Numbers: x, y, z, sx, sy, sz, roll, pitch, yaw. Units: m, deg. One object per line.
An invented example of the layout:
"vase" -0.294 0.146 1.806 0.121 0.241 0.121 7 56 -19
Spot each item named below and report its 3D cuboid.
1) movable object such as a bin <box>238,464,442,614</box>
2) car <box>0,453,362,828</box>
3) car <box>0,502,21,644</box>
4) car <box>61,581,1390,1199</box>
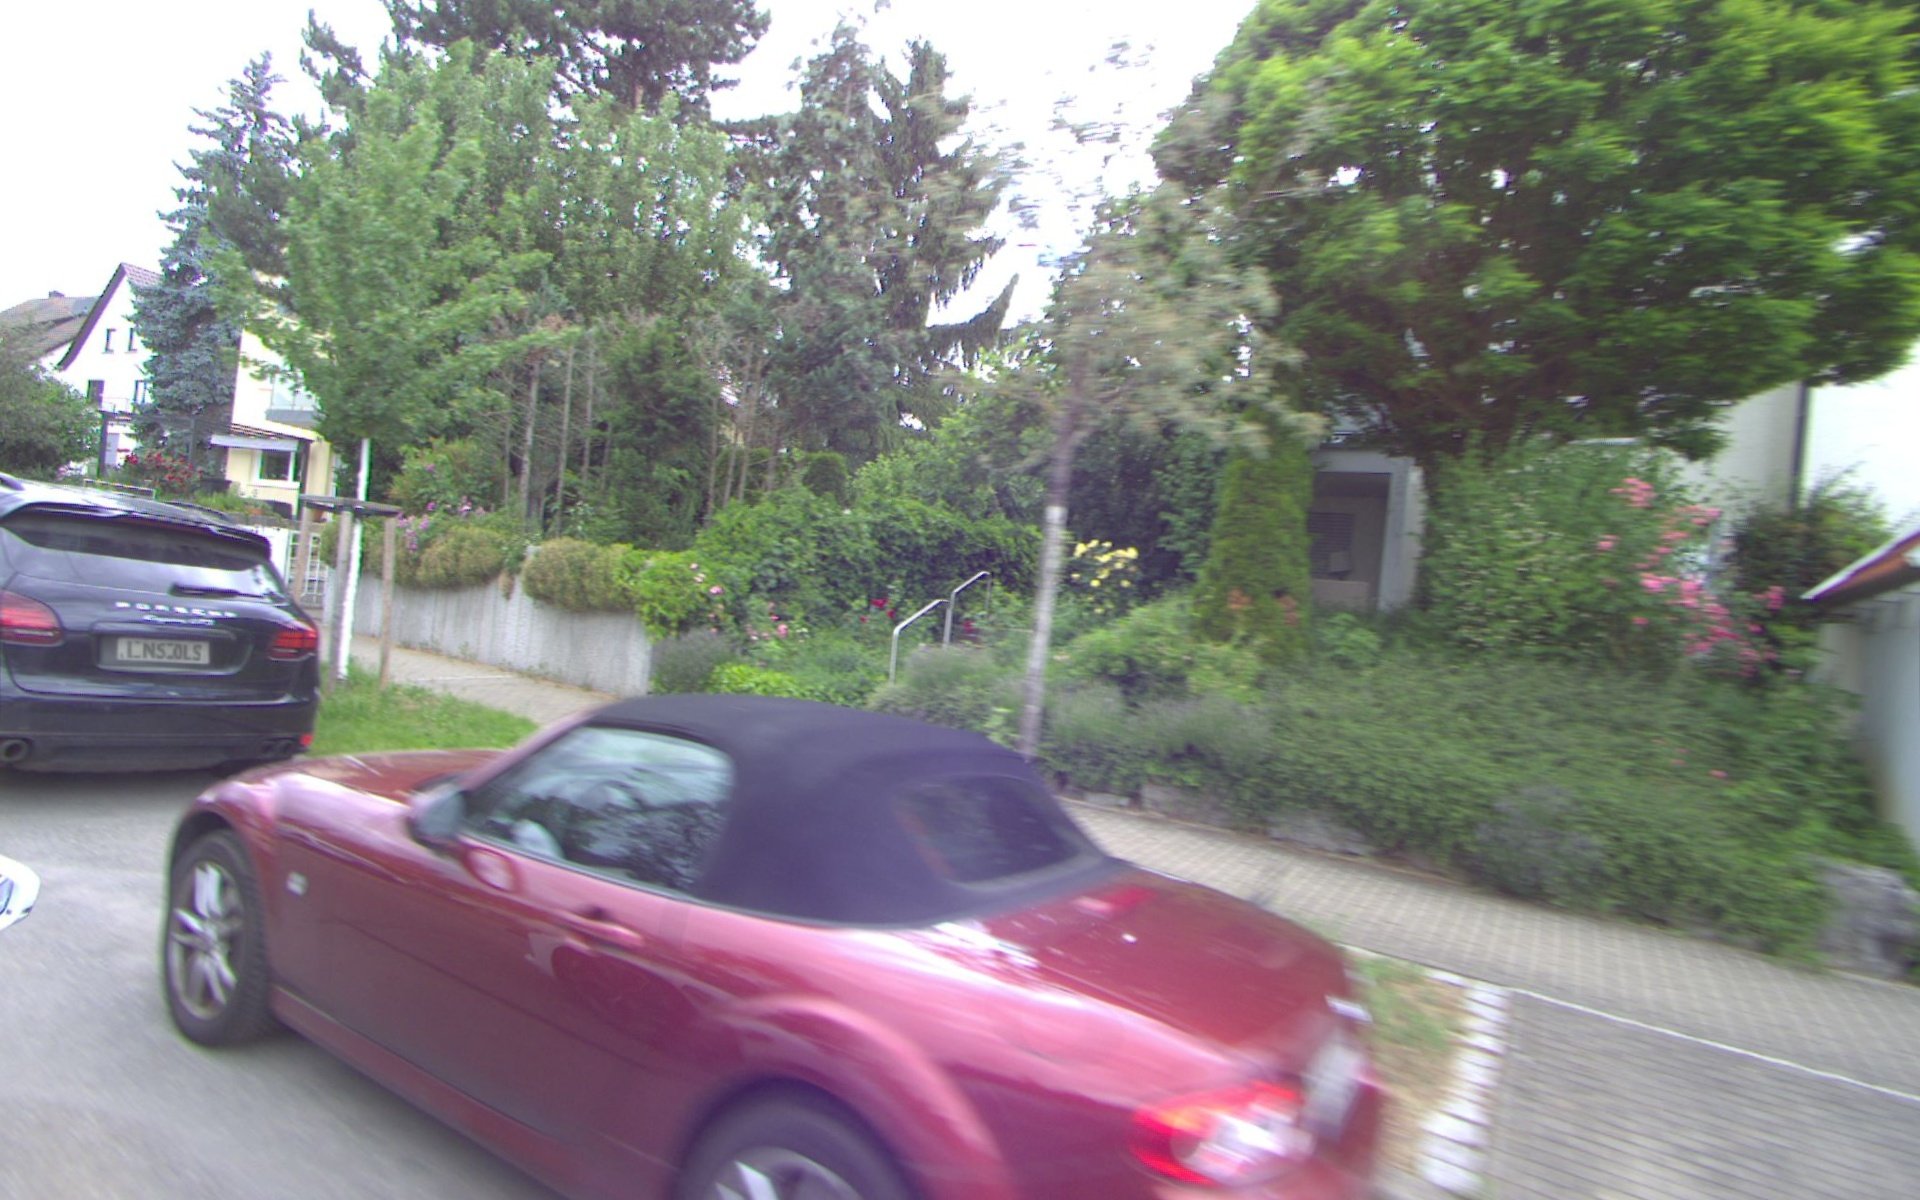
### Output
"movable object such as a bin" -10.166 -0.948 16.612 1.319 2.036 2.318 7 -2 26
"car" -5.984 0.027 6.329 4.473 1.732 1.833 7 -1 32
"car" -10.848 -0.446 9.313 4.473 1.473 1.835 7 -2 30
"car" -0.925 0.838 3.027 3.819 1.249 1.485 7 -3 31
